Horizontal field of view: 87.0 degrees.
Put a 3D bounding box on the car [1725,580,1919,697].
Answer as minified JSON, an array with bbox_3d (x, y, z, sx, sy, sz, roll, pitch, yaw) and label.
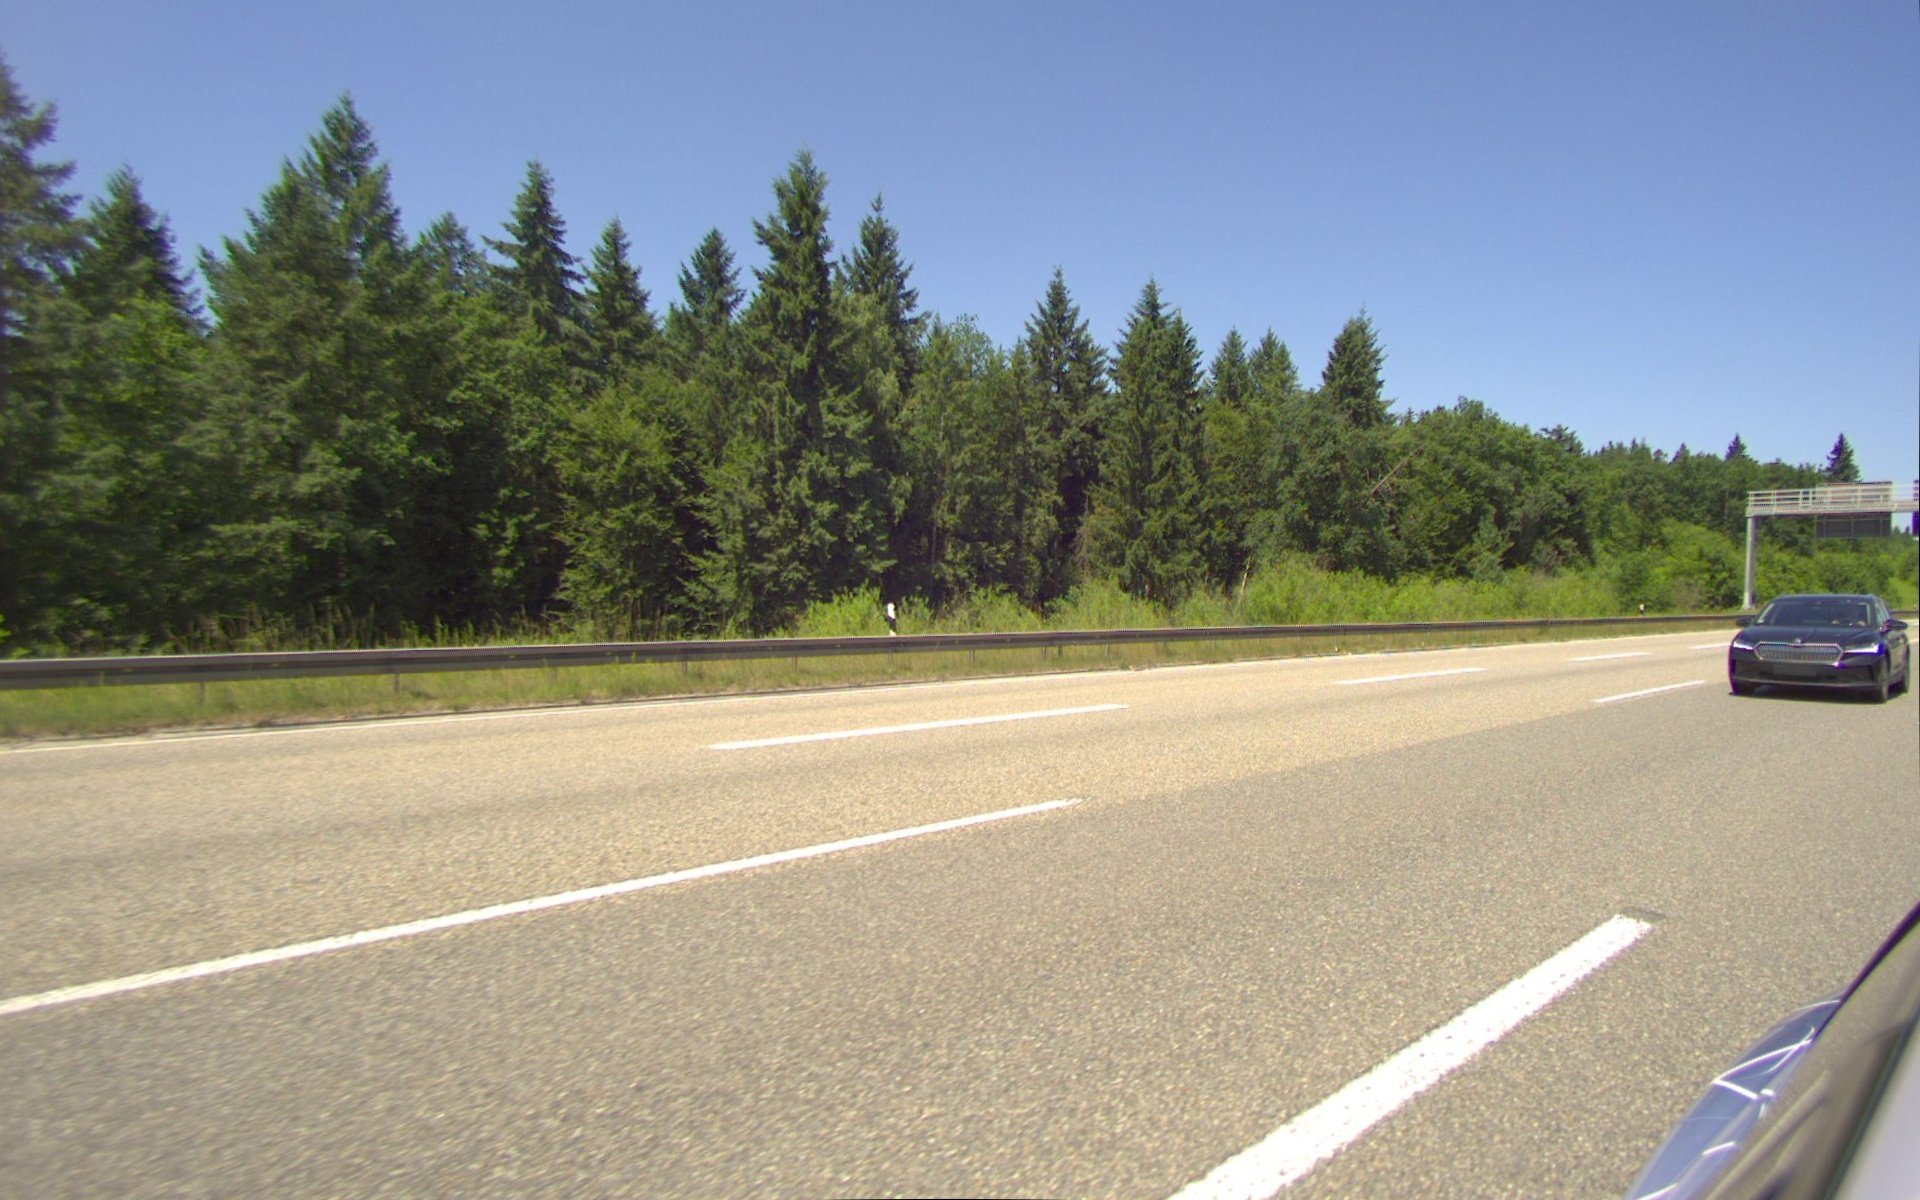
[{"bbox_3d":[14.202,0.534,16.391,4.378,1.639,1.989,1,0,-40],"label":"car"}]
